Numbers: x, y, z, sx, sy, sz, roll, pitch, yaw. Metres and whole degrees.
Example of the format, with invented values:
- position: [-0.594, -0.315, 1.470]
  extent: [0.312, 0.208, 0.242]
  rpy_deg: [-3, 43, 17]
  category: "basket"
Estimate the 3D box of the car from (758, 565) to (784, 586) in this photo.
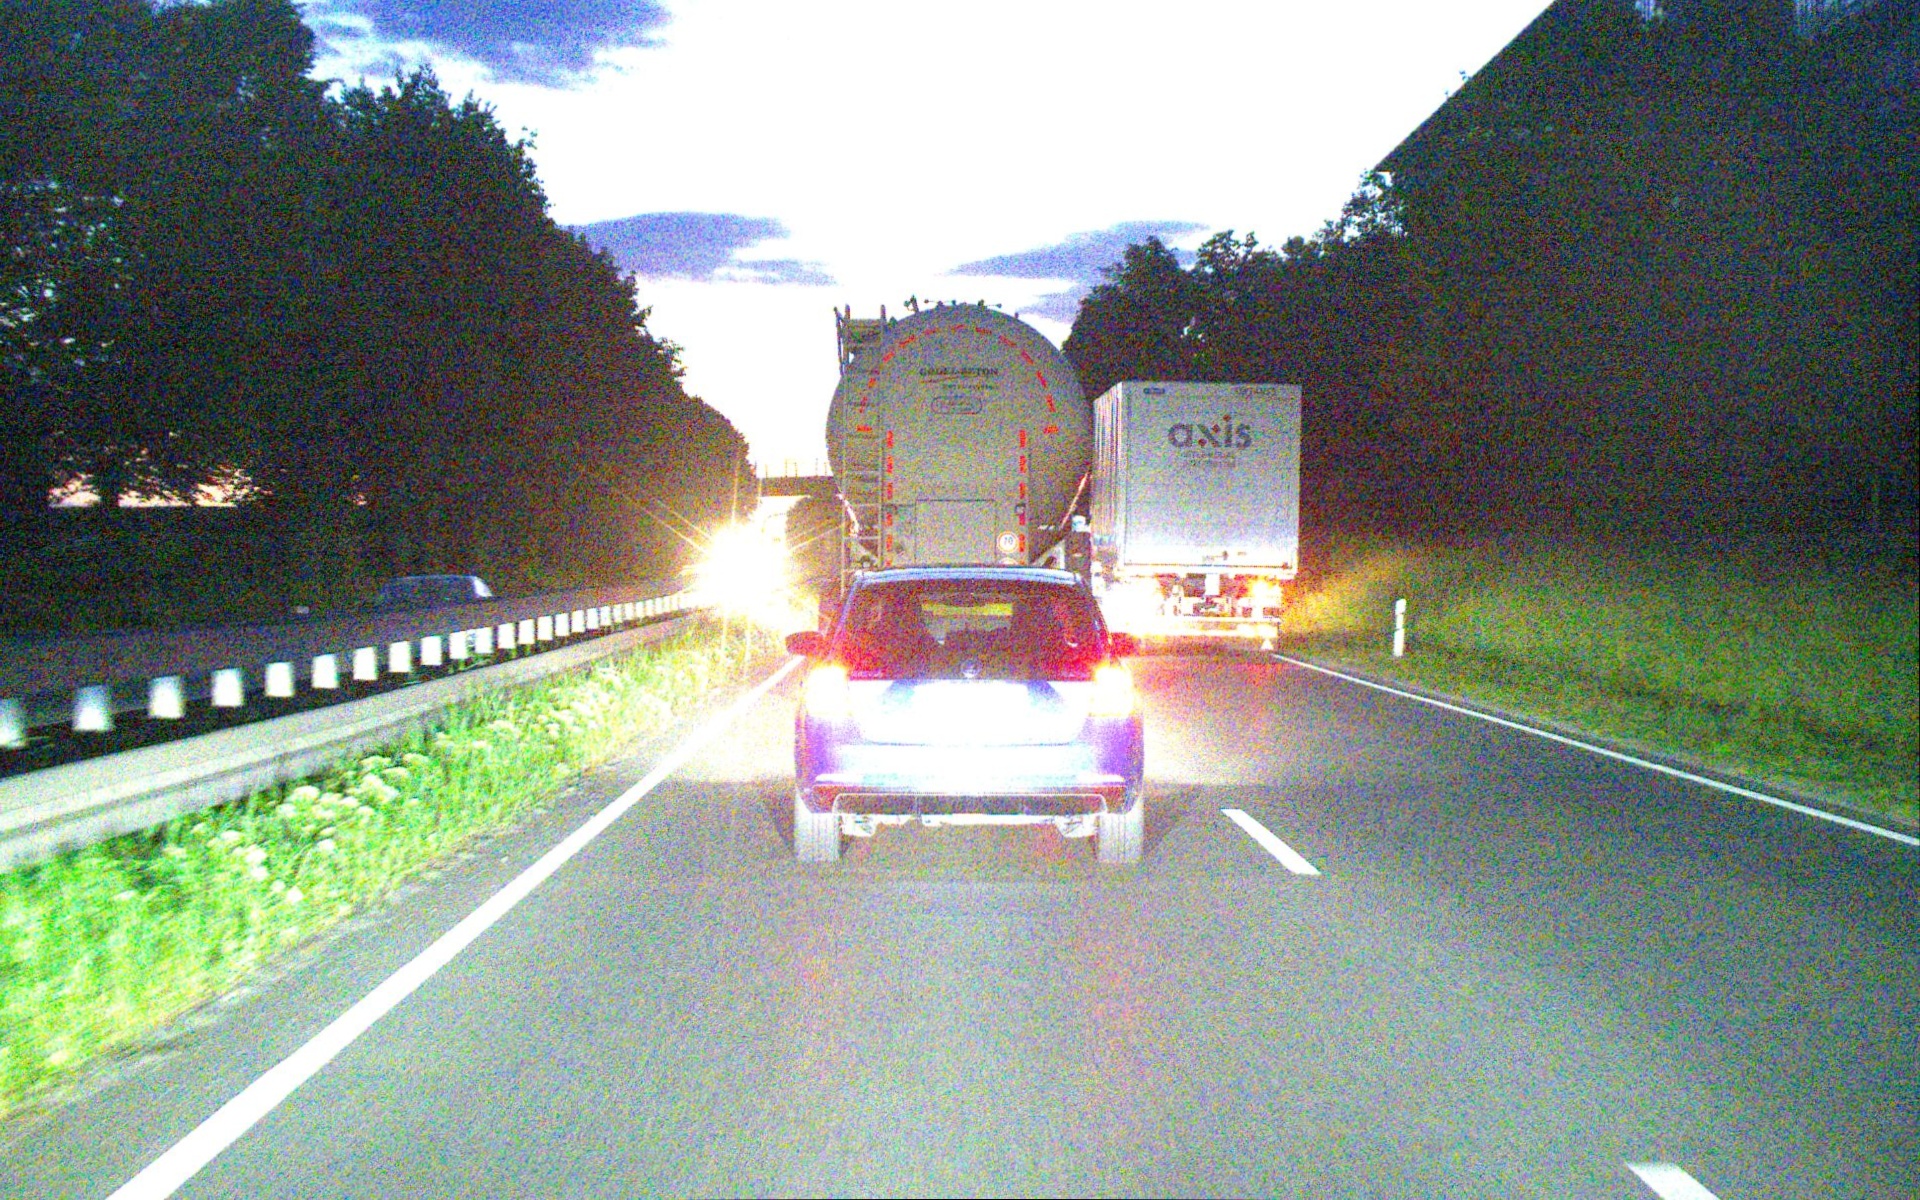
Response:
- position: [-13.269, -1.721, 241.185]
  extent: [1.617, 1.502, 3.869]
  rpy_deg: [1, 0, -1]
  category: "car"

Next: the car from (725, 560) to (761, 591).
- position: [-11.672, -1.334, 185.227]
  extent: [1.682, 1.582, 4.167]
  rpy_deg: [1, 1, -1]
  category: "car"

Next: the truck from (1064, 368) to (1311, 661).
- position: [3.387, -1.250, 54.666]
  extent: [2.883, 4.092, 12.684]
  rpy_deg: [1, 0, -1]
  category: "truck"

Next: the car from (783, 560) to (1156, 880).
- position: [0.021, 0.535, 17.747]
  extent: [1.695, 1.447, 3.914]
  rpy_deg: [1, 0, -1]
  category: "car"

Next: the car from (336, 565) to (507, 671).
- position: [-7.501, 0.224, 48.290]
  extent: [1.720, 1.402, 4.575]
  rpy_deg: [1, 0, -1]
  category: "car"

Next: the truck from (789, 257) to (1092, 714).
- position: [-0.254, -1.084, 37.613]
  extent: [2.687, 4.092, 13.142]
  rpy_deg: [1, 0, -1]
  category: "truck"
